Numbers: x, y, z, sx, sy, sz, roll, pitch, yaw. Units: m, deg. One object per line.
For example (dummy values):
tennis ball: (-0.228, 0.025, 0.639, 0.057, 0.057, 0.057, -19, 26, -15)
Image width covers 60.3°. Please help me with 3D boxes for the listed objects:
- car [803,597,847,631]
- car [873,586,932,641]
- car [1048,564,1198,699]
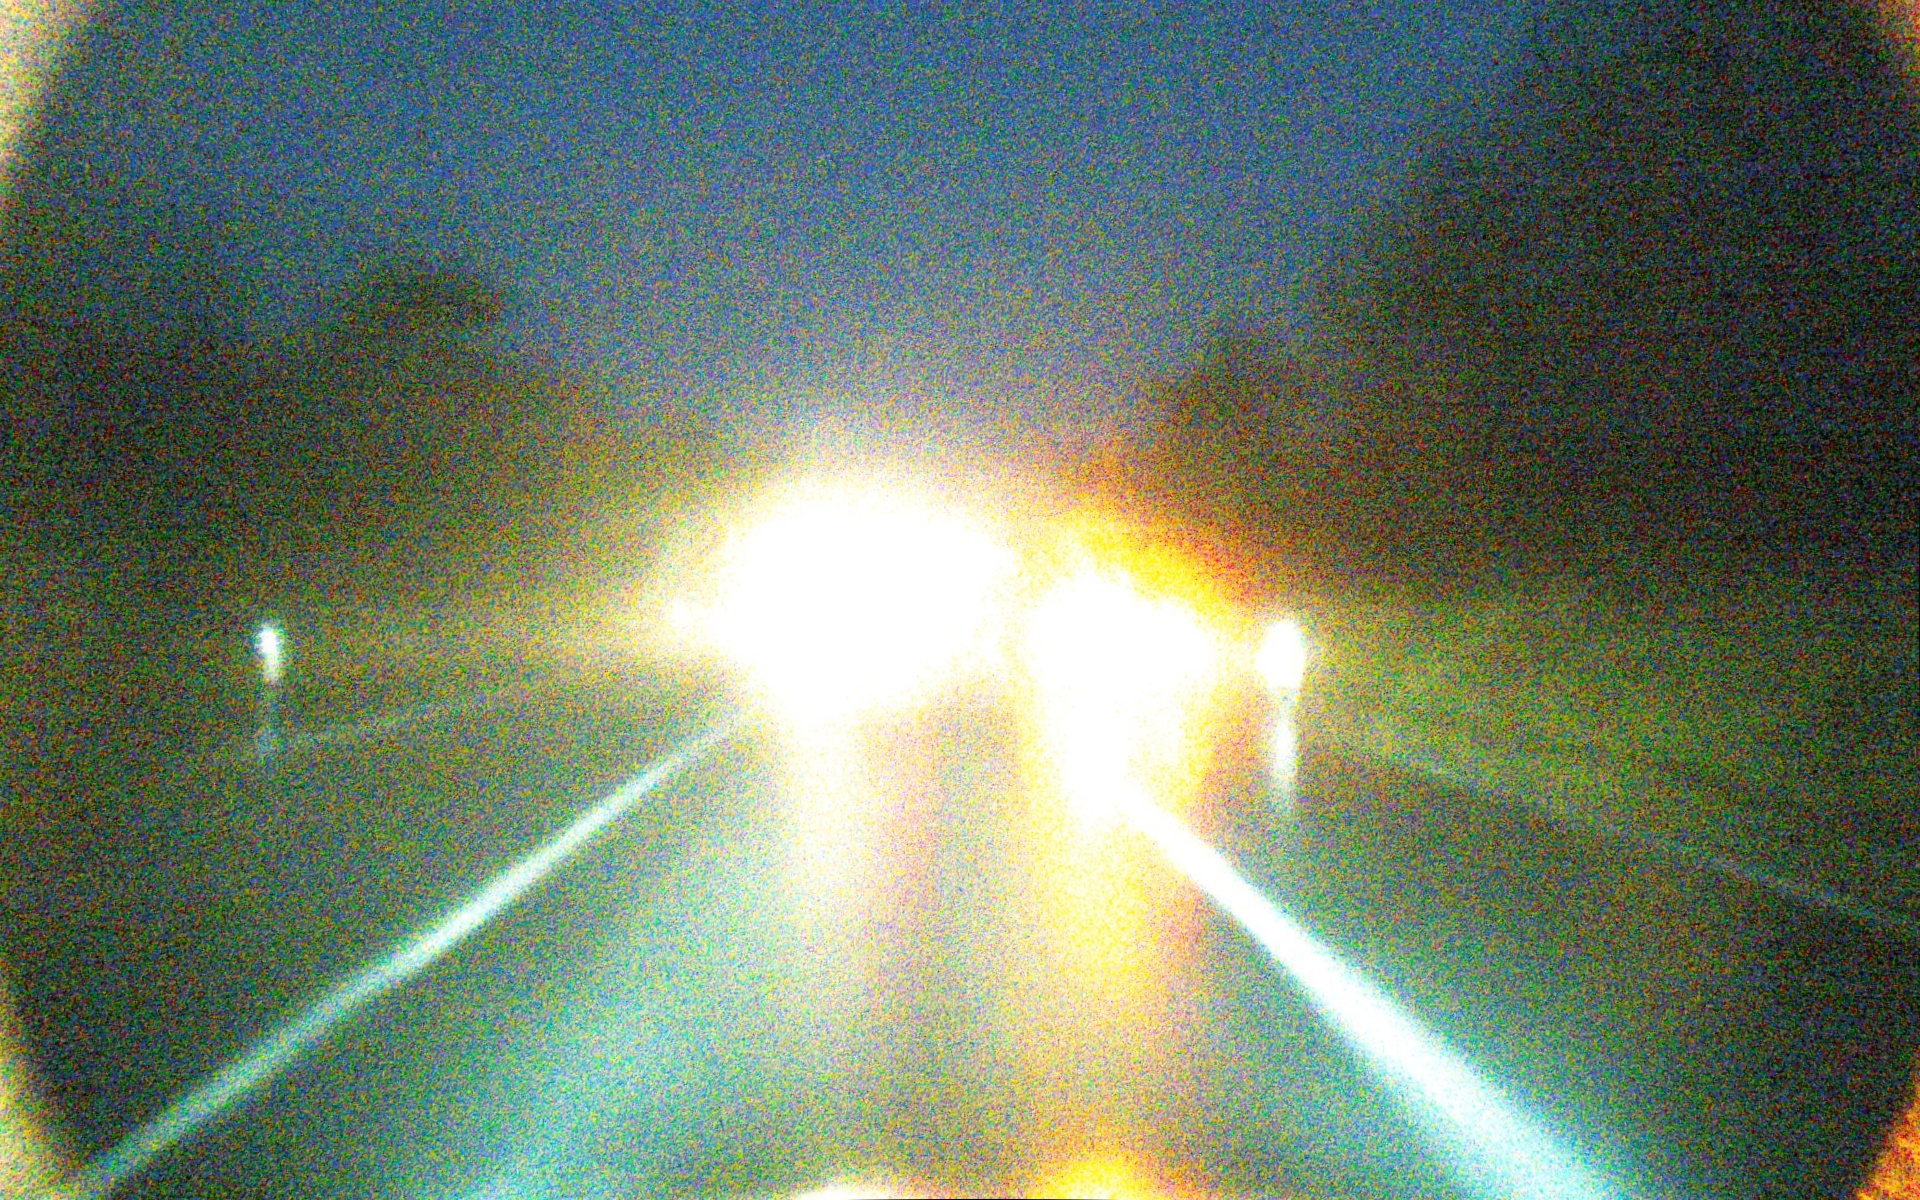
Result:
car: (-6.632, 0.687, 81.577, 1.953, 1.603, 4.659, 1, 0, -2)
car: (-1.800, 0.398, 51.503, 1.772, 1.650, 3.998, 0, 0, -2)
car: (2.621, 0.476, 27.474, 2.050, 2.049, 3.999, 1, 0, -1)
